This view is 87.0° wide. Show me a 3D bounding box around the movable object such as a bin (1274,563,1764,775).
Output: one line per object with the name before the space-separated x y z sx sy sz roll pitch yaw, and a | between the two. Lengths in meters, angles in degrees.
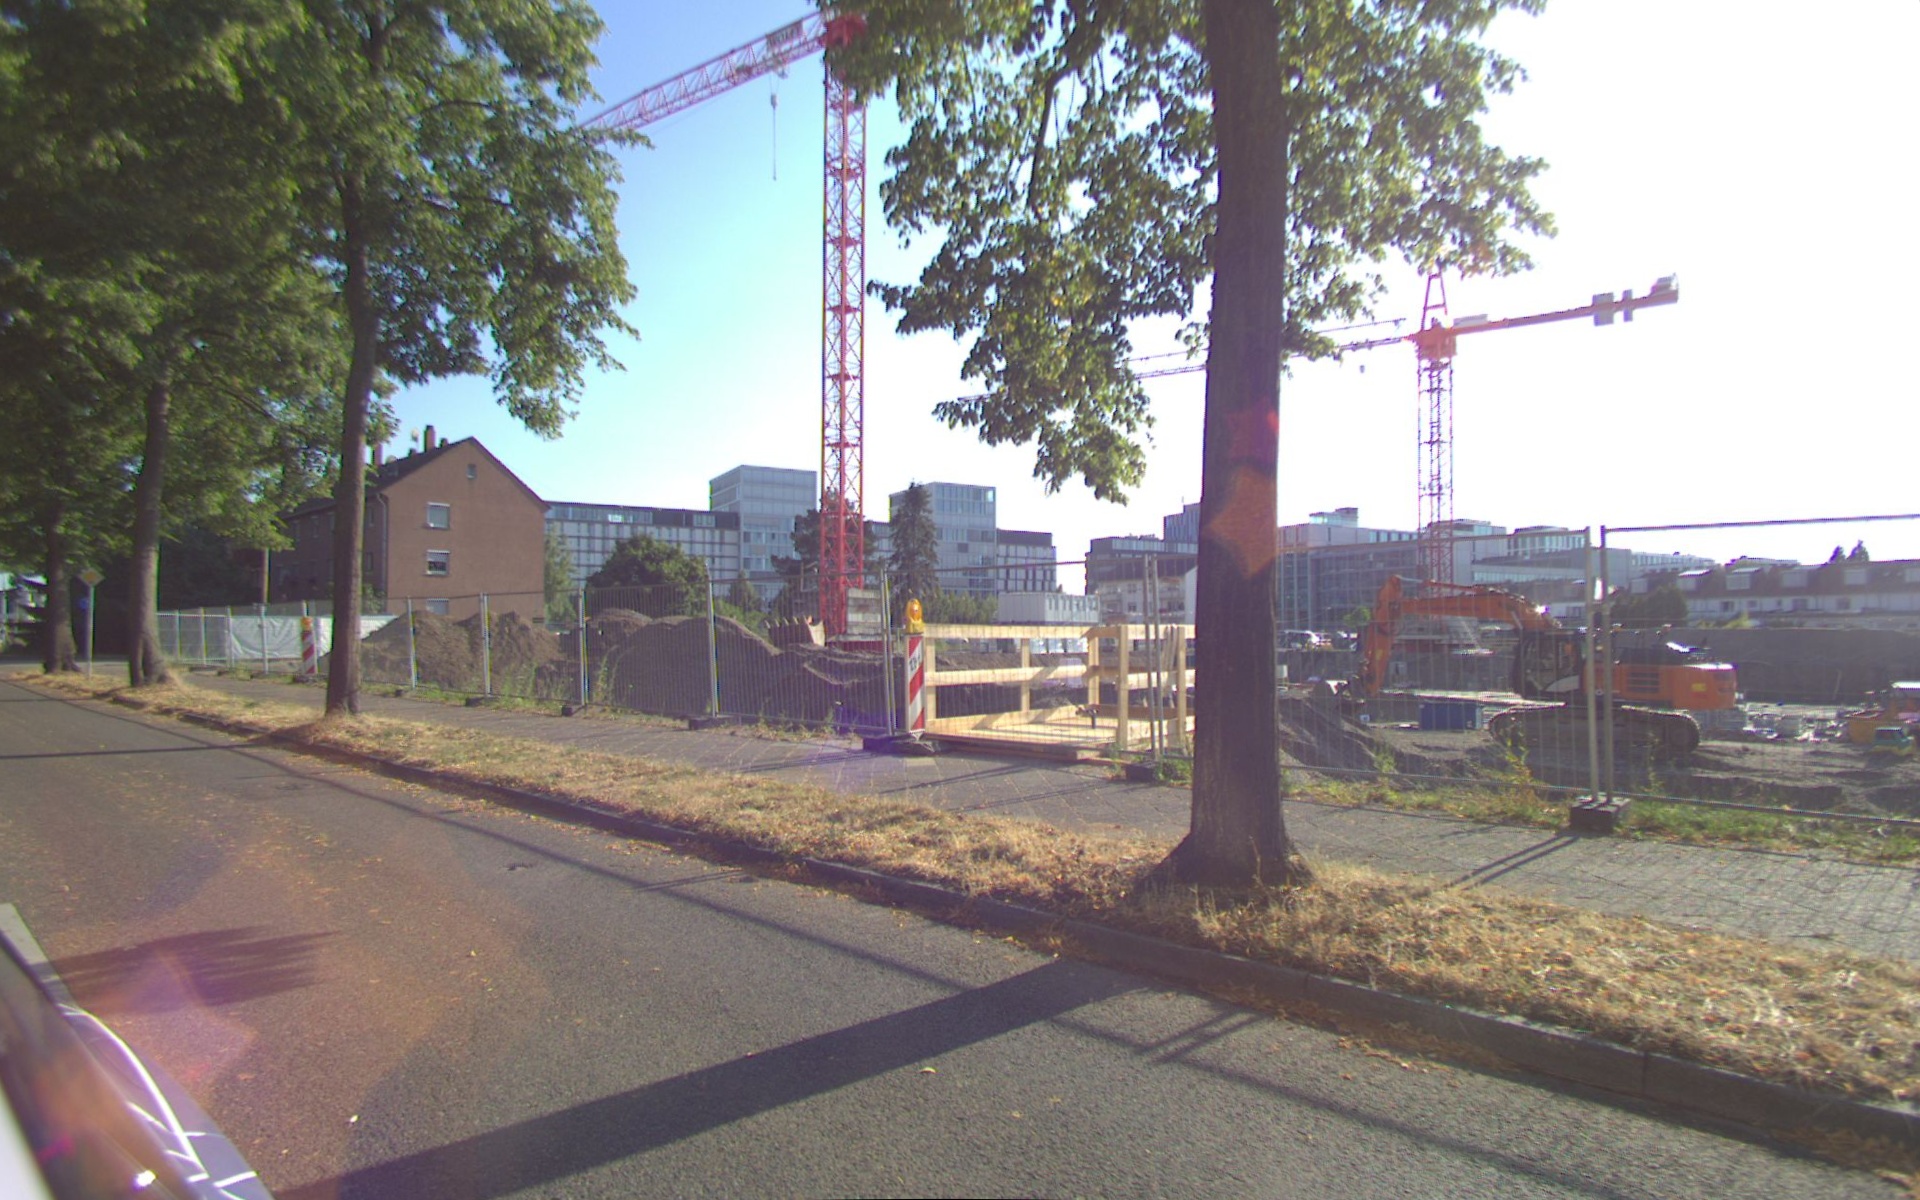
movable object such as a bin | 15.986 1.691 30.385 4.037 5.102 12.241 -1 0 -41
